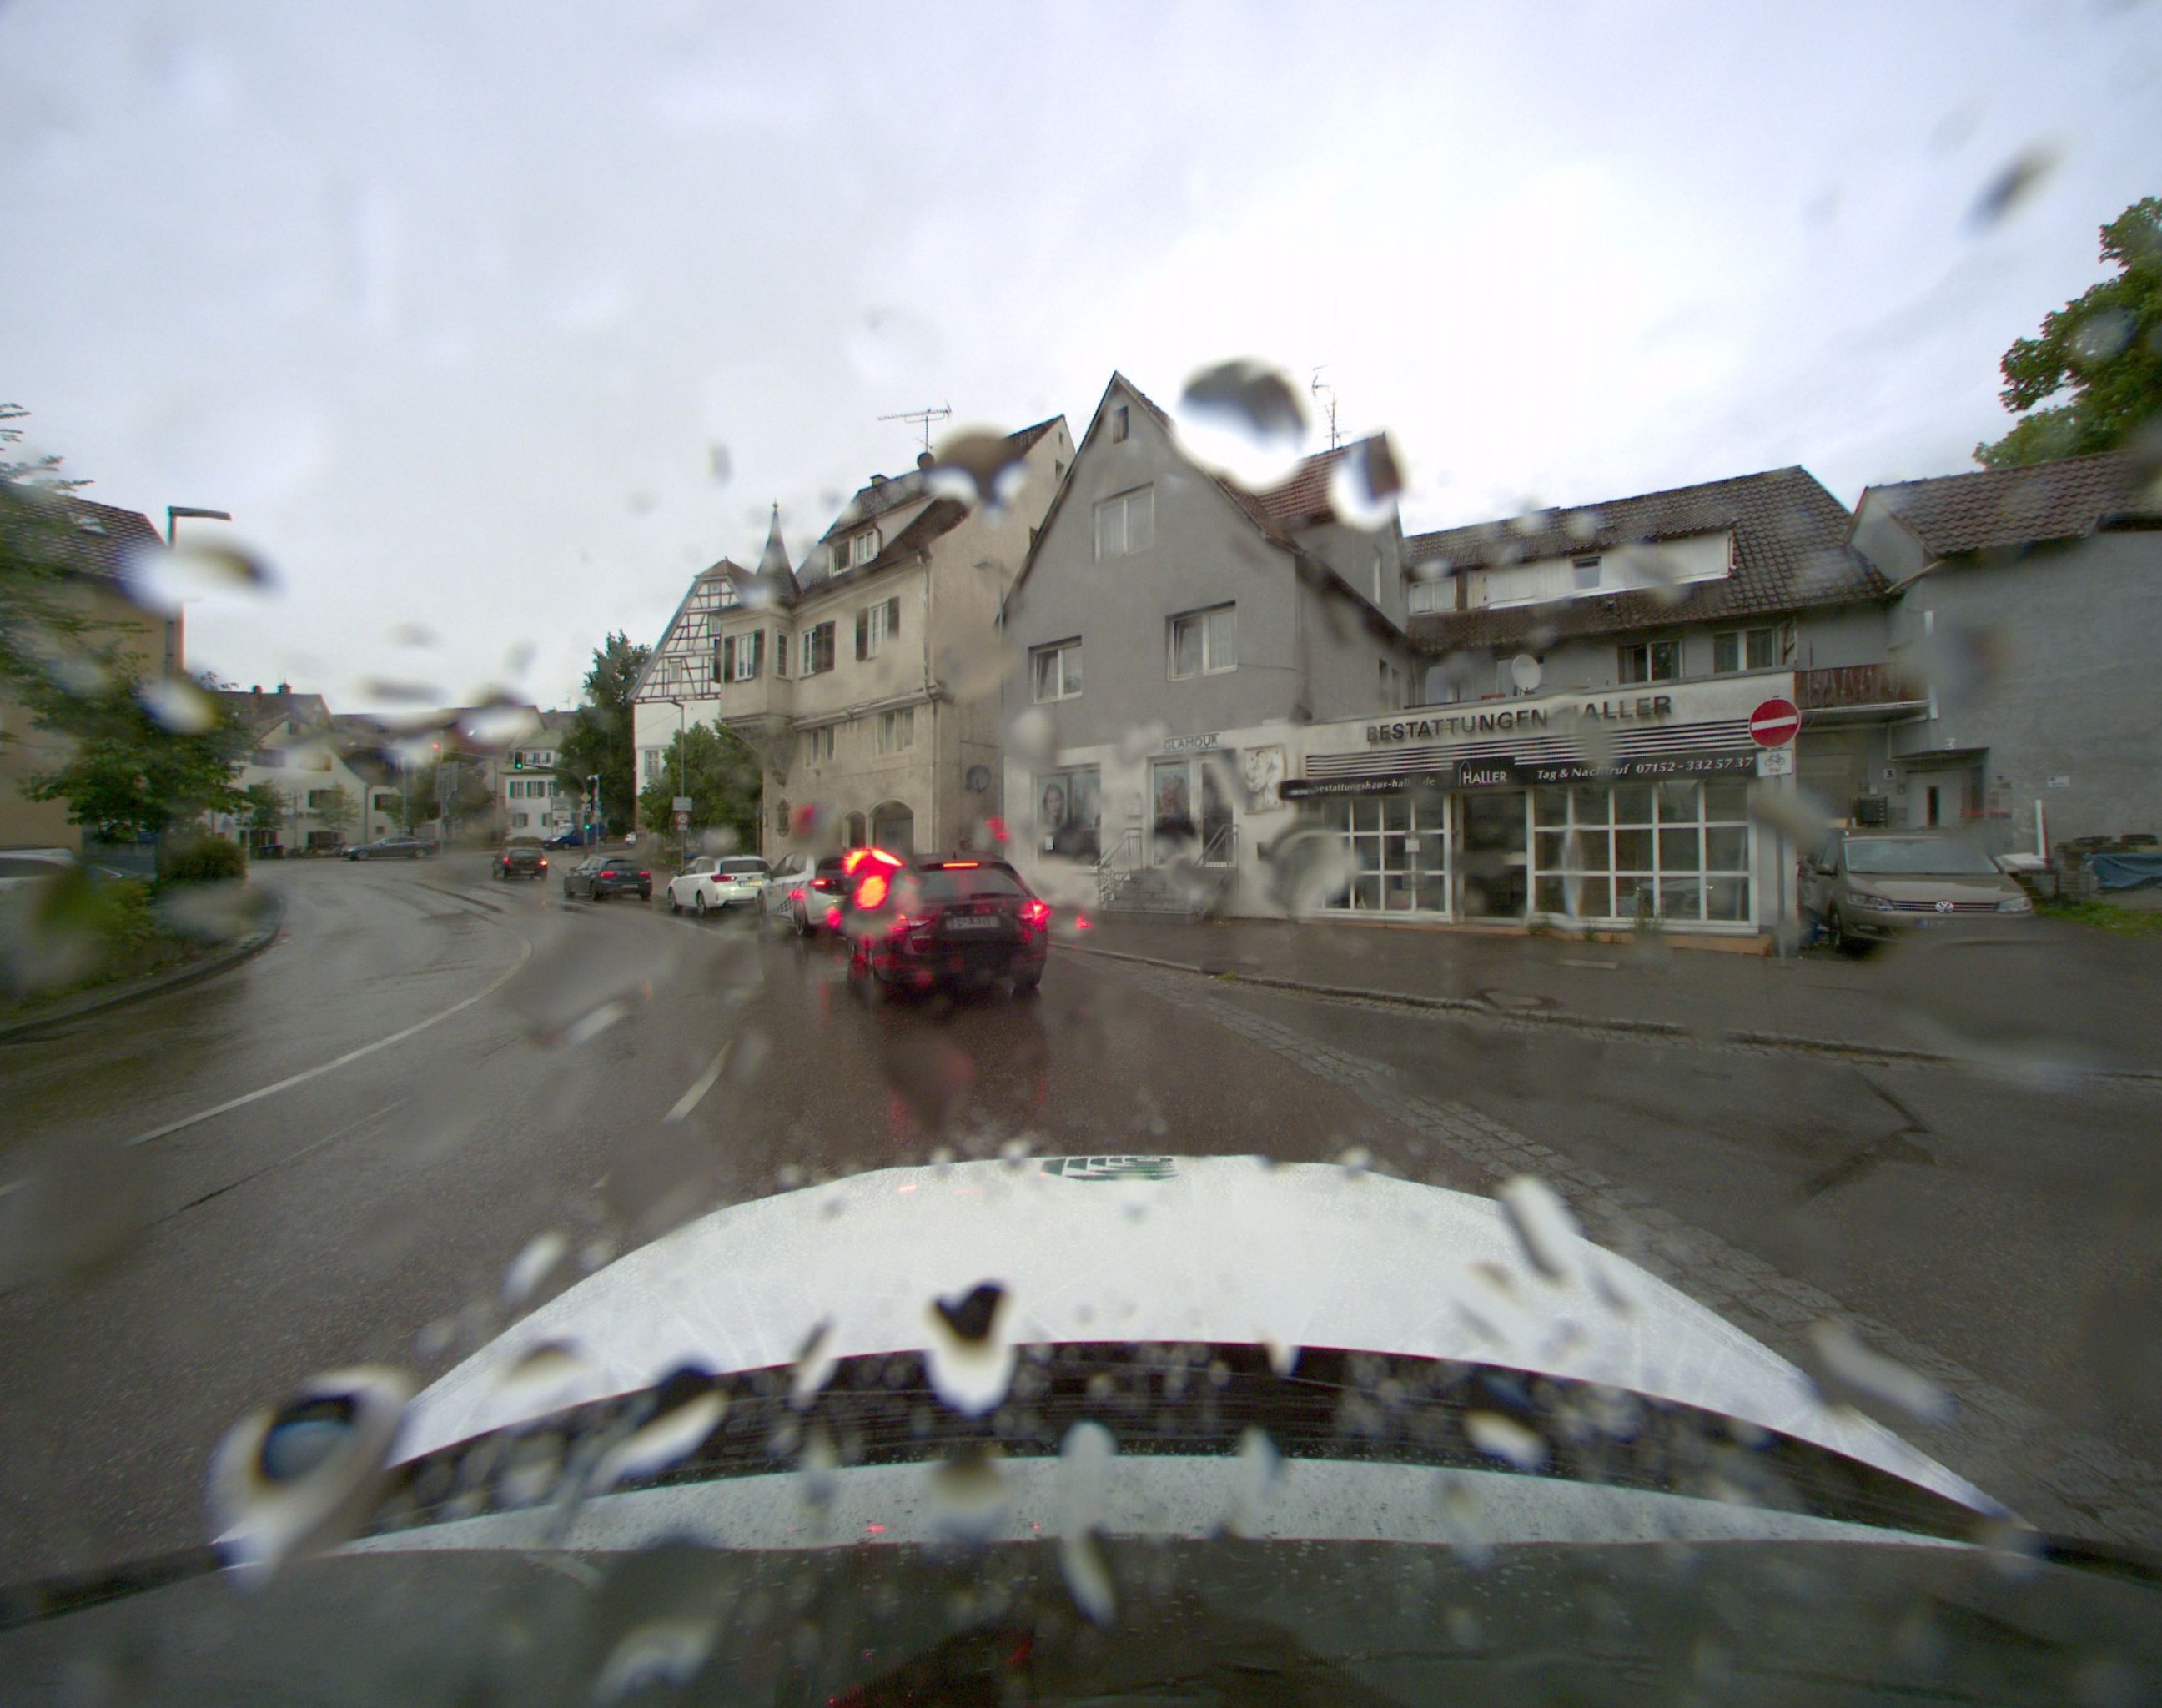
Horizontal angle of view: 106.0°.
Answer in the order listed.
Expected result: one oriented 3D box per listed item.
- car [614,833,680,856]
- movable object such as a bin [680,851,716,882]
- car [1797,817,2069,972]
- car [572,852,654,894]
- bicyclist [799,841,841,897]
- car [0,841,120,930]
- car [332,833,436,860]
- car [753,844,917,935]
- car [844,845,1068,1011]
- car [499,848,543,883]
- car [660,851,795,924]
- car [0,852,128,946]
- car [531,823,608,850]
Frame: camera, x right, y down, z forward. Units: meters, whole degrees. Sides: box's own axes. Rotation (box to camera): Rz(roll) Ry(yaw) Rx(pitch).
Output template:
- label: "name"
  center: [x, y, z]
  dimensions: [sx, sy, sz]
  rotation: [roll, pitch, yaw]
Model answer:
- label: "car"
  center: [-32.238, -0.703, 60.613]
  dimensions: [1.981, 1.586, 4.324]
  rotation: [-1, 0, 11]
- label: "movable object such as a bin"
  center: [-16.672, 0.532, 35.427]
  dimensions: [1.164, 1.313, 1.173]
  rotation: [0, 0, -39]
- label: "car"
  center: [11.739, 0.399, 11.573]
  dimensions: [1.974, 1.771, 4.026]
  rotation: [0, 2, 36]
- label: "car"
  center: [-16.153, 0.625, 28.037]
  dimensions: [2.009, 1.302, 3.956]
  rotation: [-1, 0, -36]
- label: "bicyclist"
  center: [-7.281, 0.389, 22.710]
  dimensions: [1.017, 1.517, 0.690]
  rotation: [1, 1, 40]
- label: "car"
  center: [-25.959, 0.858, 18.444]
  dimensions: [1.938, 1.824, 4.966]
  rotation: [2, 7, 26]
- label: "car"
  center: [-42.838, -0.460, 50.148]
  dimensions: [1.839, 1.546, 4.524]
  rotation: [-1, 0, 36]
- label: "car"
  center: [-4.763, 0.580, 15.398]
  dimensions: [1.870, 1.473, 3.958]
  rotation: [-1, 0, -34]
- label: "car"
  center: [-1.717, 0.658, 9.612]
  dimensions: [1.892, 1.448, 4.329]
  rotation: [-1, 0, -19]
- label: "car"
  center: [-26.050, 0.521, 37.884]
  dimensions: [1.595, 1.524, 3.395]
  rotation: [-1, 0, -35]
- label: "car"
  center: [-8.979, 0.766, 20.474]
  dimensions: [1.901, 1.596, 4.274]
  rotation: [-1, 0, -41]
- label: "car"
  center: [-19.826, 0.796, 14.208]
  dimensions: [1.977, 1.629, 3.663]
  rotation: [0, 0, 18]
- label: "car"
  center: [-37.458, -1.268, 59.777]
  dimensions: [1.975, 1.881, 4.403]
  rotation: [-1, 0, 24]
